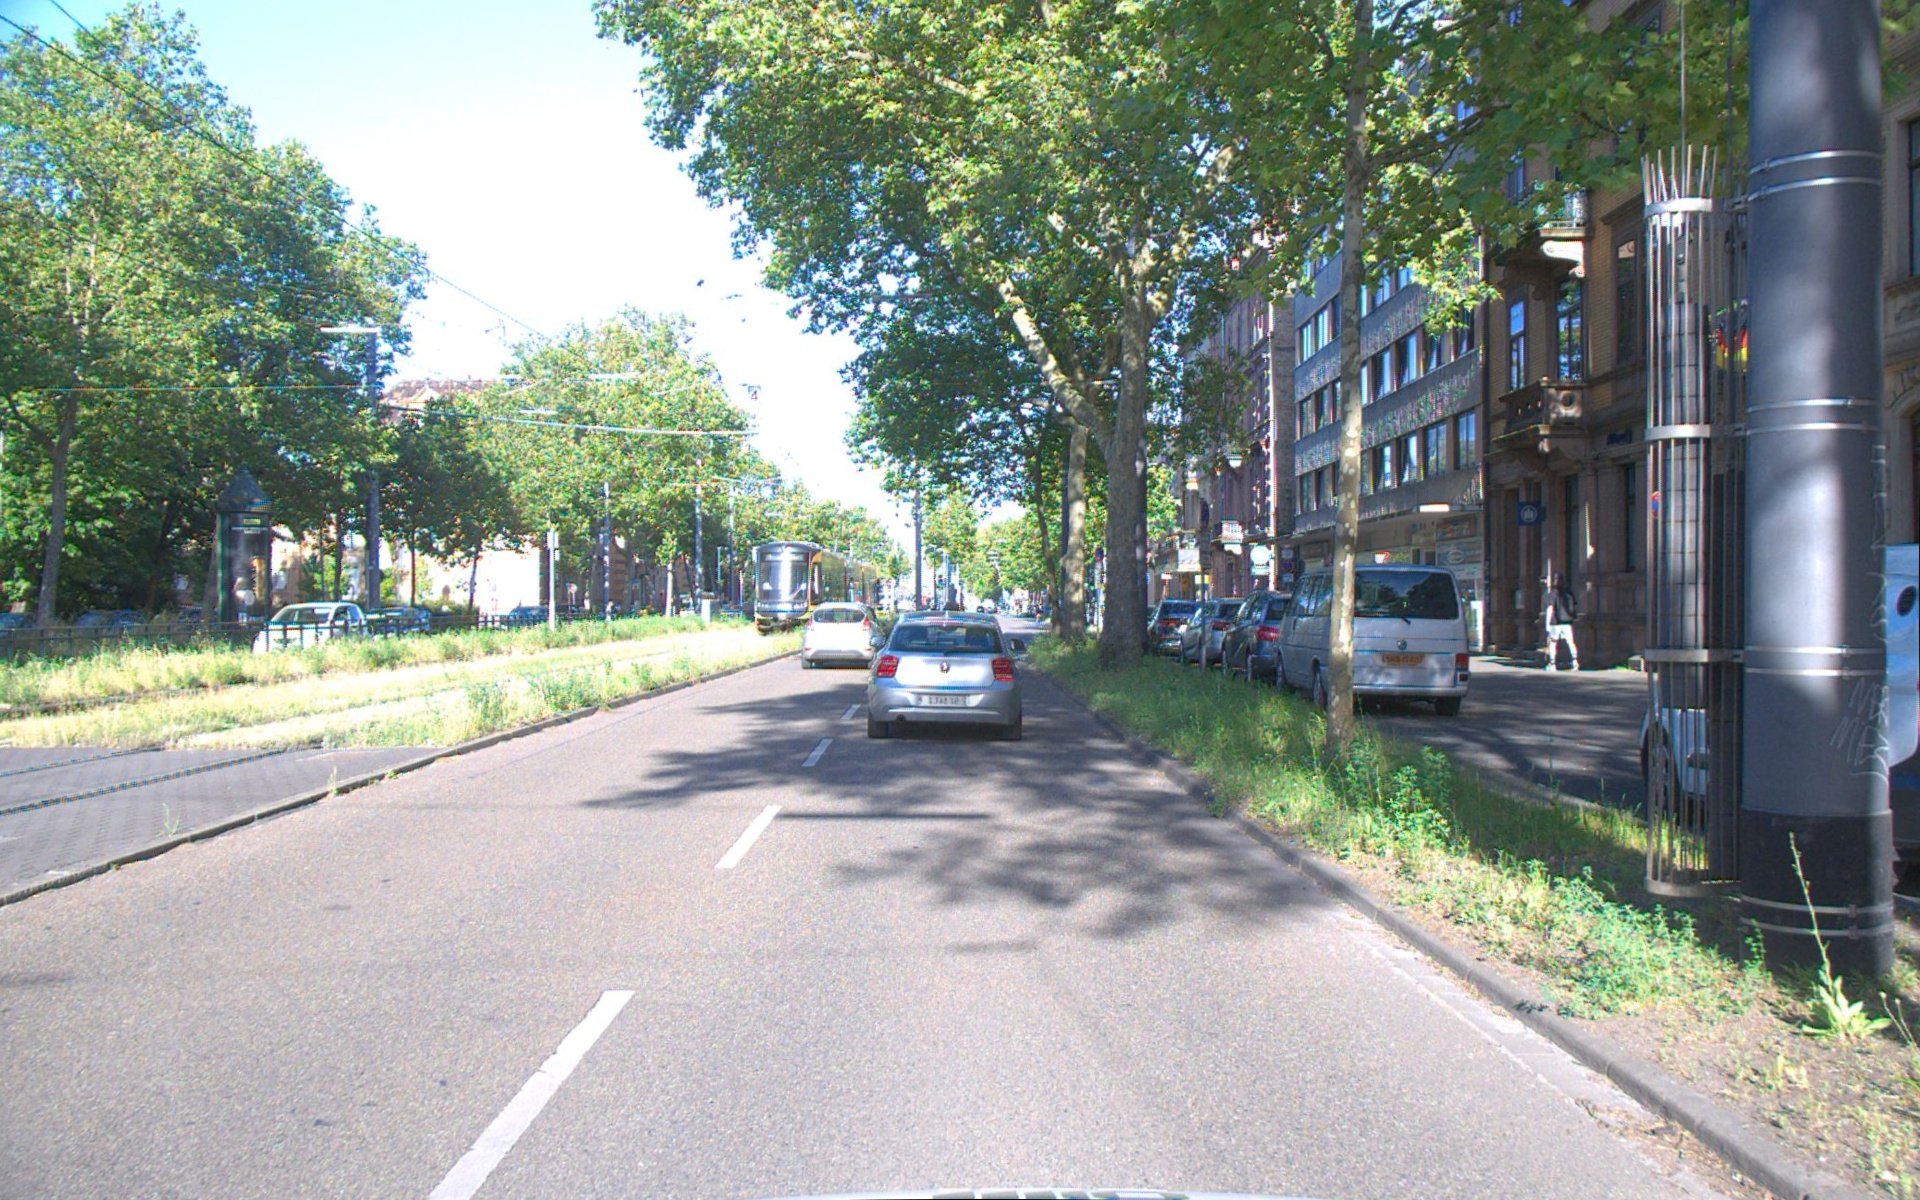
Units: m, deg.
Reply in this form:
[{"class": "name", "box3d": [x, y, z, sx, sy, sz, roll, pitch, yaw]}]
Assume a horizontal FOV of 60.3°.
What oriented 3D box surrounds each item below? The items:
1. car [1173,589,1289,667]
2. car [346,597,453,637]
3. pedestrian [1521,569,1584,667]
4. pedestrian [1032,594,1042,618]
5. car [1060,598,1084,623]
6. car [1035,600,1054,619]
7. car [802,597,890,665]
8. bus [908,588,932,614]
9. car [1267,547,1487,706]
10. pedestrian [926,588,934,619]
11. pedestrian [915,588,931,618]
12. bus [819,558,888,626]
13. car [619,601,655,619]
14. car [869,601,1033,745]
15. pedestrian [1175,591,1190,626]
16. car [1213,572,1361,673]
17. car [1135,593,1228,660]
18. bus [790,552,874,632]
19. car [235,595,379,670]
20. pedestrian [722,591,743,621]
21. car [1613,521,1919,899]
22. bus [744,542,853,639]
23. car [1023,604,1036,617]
[{"class": "car", "box3d": [5.674, 0.558, 35.108, 1.643, 1.492, 4.669, 2, 0, 0]}, {"class": "car", "box3d": [-17.792, 0.511, 52.721, 1.654, 1.154, 4.708, 2, 1, 2]}, {"class": "pedestrian", "box3d": [11.429, 0.349, 31.942, 0.979, 1.872, 0.715, 0, 0, 2]}, {"class": "pedestrian", "box3d": [6.638, 0.507, 142.725, 0.820, 2.049, 0.649, 2, 0, 8]}, {"class": "car", "box3d": [9.187, 0.819, 135.954, 1.718, 1.999, 4.738, 0, 0, 1]}, {"class": "car", "box3d": [7.722, 0.854, 151.337, 1.657, 1.687, 4.040, 0, 1, 1]}, {"class": "car", "box3d": [-2.536, 0.666, 37.437, 1.613, 1.386, 3.760, 2, 1, 1]}, {"class": "bus", "box3d": [-5.732, 0.100, 239.515, 2.693, 3.689, 18.850, 0, 0, 1]}, {"class": "car", "box3d": [5.429, 0.291, 22.188, 1.826, 1.847, 4.801, 2, 1, 2]}, {"class": "pedestrian", "box3d": [-1.891, 0.205, 103.133, 0.442, 1.936, 0.584, 0, 0, -6]}, {"class": "pedestrian", "box3d": [-2.464, 0.207, 109.106, 1.050, 1.949, 1.126, 0, 0, -1]}, {"class": "bus", "box3d": [-5.744, -0.424, 90.803, 2.810, 3.504, 11.612, 0, 0, 1]}, {"class": "car", "box3d": [-23.331, 0.713, 119.448, 1.755, 1.199, 4.000, 2, 0, 0]}, {"class": "car", "box3d": [-0.091, 0.784, 19.807, 1.726, 1.457, 4.000, 2, 1, 0]}, {"class": "pedestrian", "box3d": [11.801, 0.452, 87.628, 0.459, 1.842, 0.772, 2, 0, 32]}, {"class": "car", "box3d": [5.437, 0.337, 27.988, 1.669, 1.528, 4.358, 2, 0, 1]}, {"class": "car", "box3d": [5.404, 0.621, 40.937, 1.768, 1.516, 4.920, 2, 0, 2]}, {"class": "bus", "box3d": [-5.940, -0.363, 78.780, 2.810, 3.504, 12.216, 0, 0, 1]}, {"class": "car", "box3d": [-15.043, 0.716, 38.312, 1.807, 1.556, 3.874, 2, 1, -1]}, {"class": "pedestrian", "box3d": [-13.123, 0.350, 95.431, 1.154, 1.672, 0.891, 0, -1, -7]}, {"class": "car", "box3d": [5.209, 0.498, 9.269, 1.591, 1.697, 4.143, 2, 1, 3]}, {"class": "bus", "box3d": [-6.223, -0.353, 66.037, 2.810, 3.504, 13.218, 0, 0, 1]}, {"class": "car", "box3d": [9.483, 1.437, 224.934, 1.665, 1.561, 3.717, 2, 1, 1]}]
